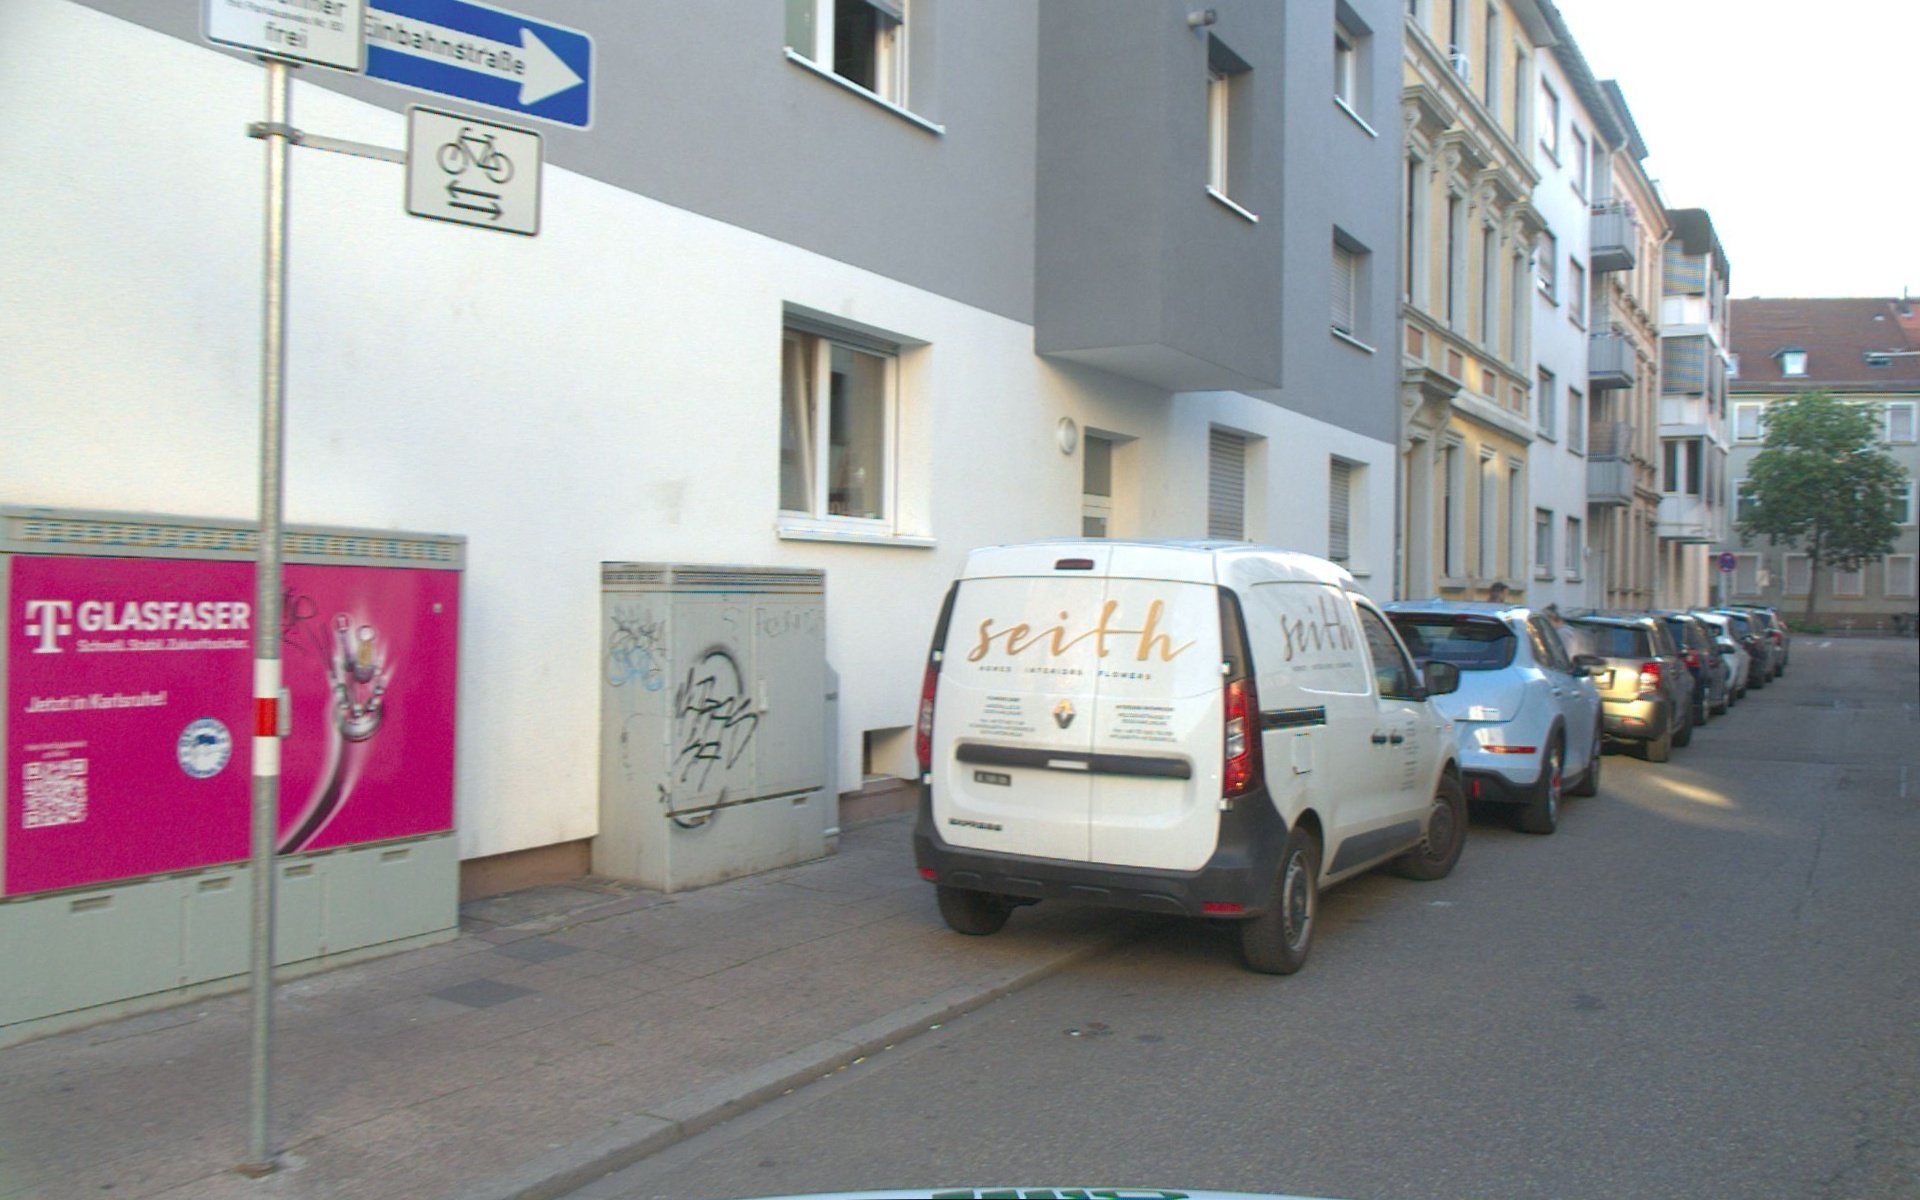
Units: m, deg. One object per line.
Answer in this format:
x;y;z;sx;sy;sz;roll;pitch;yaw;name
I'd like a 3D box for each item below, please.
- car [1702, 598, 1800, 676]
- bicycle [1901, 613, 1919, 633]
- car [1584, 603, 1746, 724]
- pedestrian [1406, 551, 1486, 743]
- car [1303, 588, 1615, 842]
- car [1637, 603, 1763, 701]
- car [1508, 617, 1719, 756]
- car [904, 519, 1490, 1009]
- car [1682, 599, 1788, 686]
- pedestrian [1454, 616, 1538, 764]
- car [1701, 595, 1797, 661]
18.502;0.815;38.614;1.955;1.695;4.404;0;0;27;car
46.110;1.100;79.680;0.507;0.965;1.724;0;0;-2;bicycle
10.145;0.835;23.661;1.696;1.535;3.823;0;1;30;car
5.318;0.499;18.083;0.781;2.049;0.776;0;-1;20;pedestrian
4.081;0.724;13.019;1.728;1.591;4.363;0;1;25;car
12.591;0.817;28.042;1.599;1.498;3.747;0;1;30;car
7.404;0.885;18.515;1.652;1.355;4.124;0;-1;30;car
1.465;0.598;8.460;1.600;1.845;4.178;0;1;29;car
15.626;0.789;33.260;1.584;1.598;4.295;0;1;30;car
5.368;0.888;16.594;0.646;1.435;0.673;0;0;2;pedestrian
21.115;0.716;44.199;1.957;1.692;3.968;0;0;31;car
